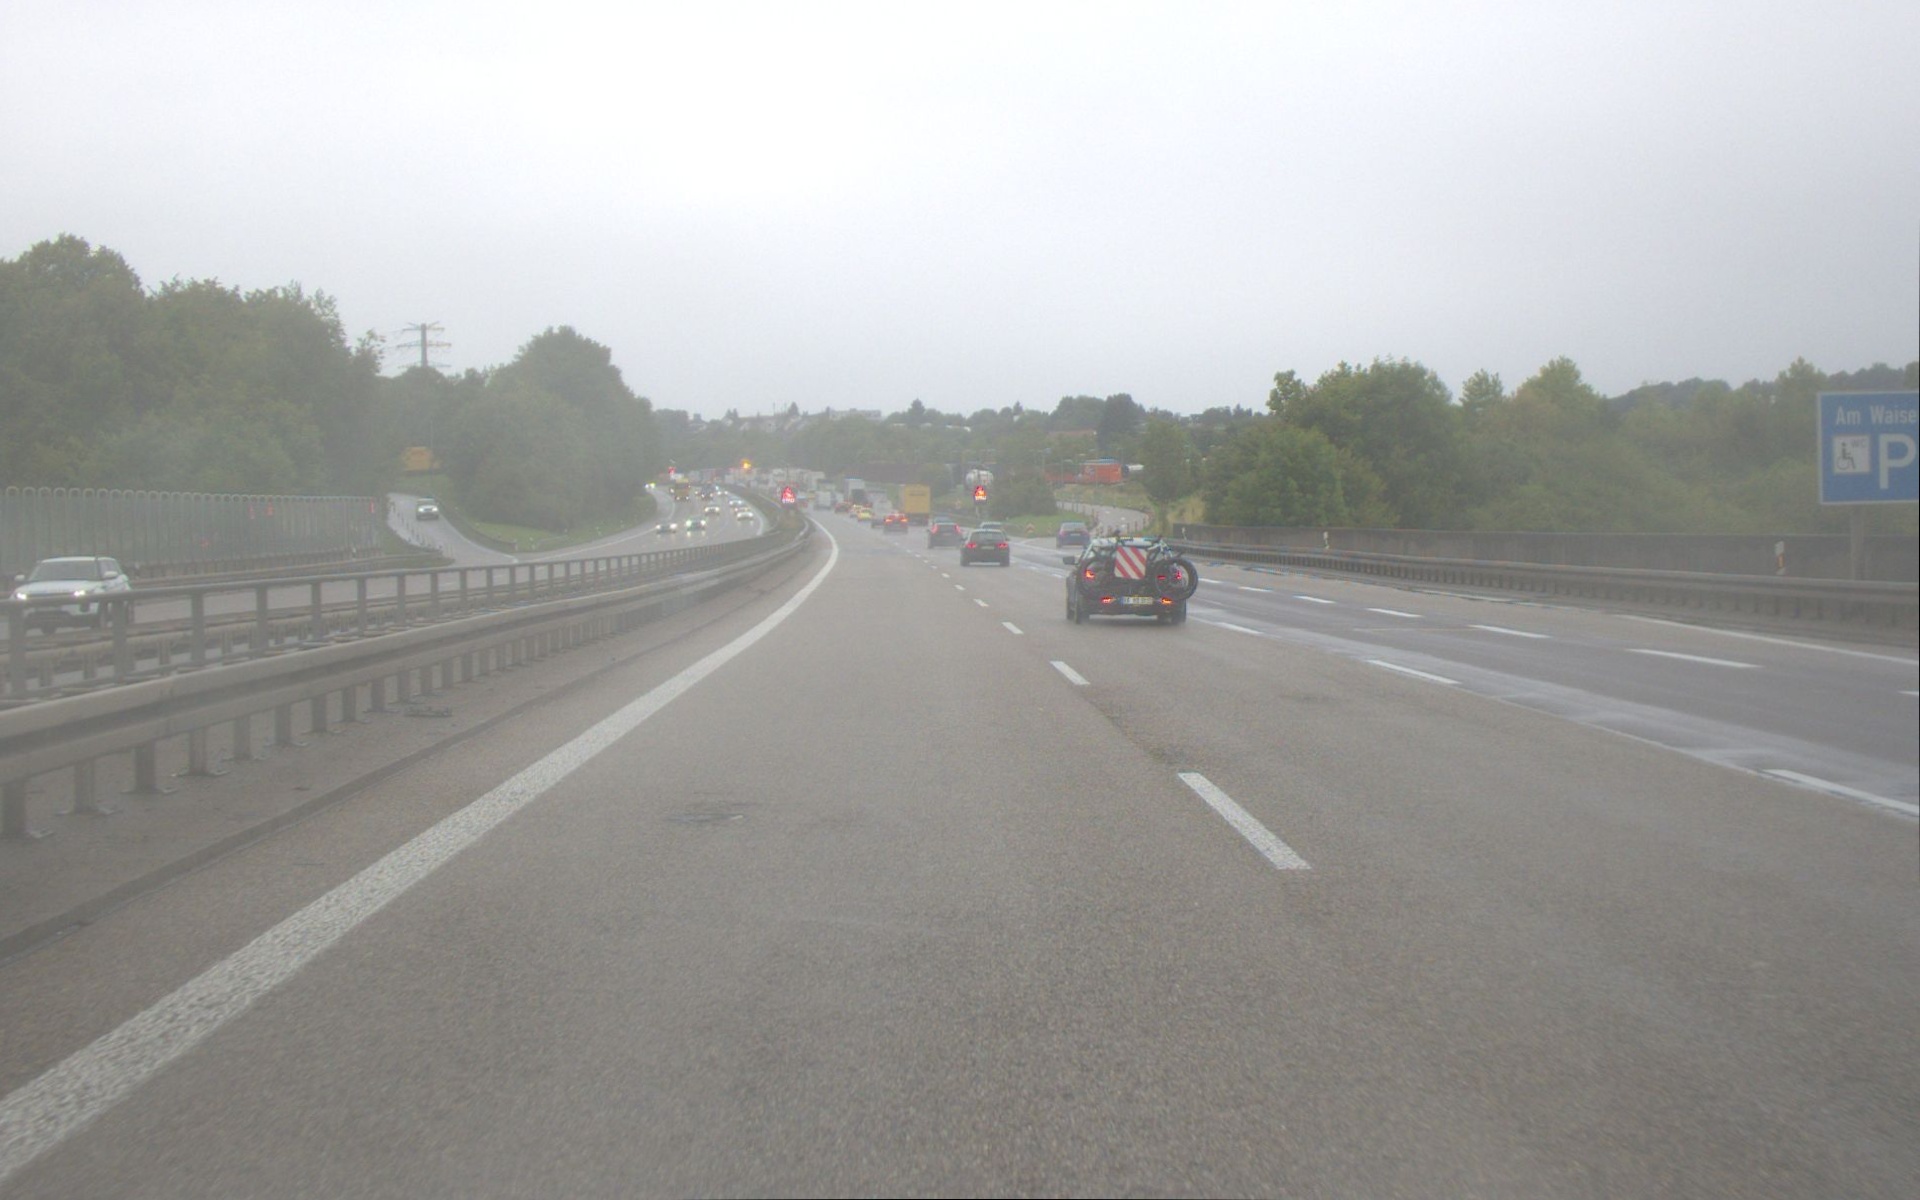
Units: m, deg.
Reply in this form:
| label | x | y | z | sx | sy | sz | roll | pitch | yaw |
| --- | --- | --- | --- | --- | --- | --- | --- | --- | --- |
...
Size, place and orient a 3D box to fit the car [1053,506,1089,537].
| label | x | y | z | sx | sy | sz | roll | pitch | yaw |
| --- | --- | --- | --- | --- | --- | --- | --- | --- | --- |
| car | 6.354 | -4.473 | 195.782 | 1.922 | 1.703 | 4.000 | -1 | 2 | 3 |

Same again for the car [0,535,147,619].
| label | x | y | z | sx | sy | sz | roll | pitch | yaw |
| --- | --- | --- | --- | --- | --- | --- | --- | --- | --- |
| car | -18.382 | -0.503 | 71.302 | 1.993 | 1.624 | 4.714 | -1 | 1 | -1 |

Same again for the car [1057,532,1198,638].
| label | x | y | z | sx | sy | sz | roll | pitch | yaw |
| --- | --- | --- | --- | --- | --- | --- | --- | --- | --- |
| car | 2.741 | -0.289 | 57.355 | 2.057 | 1.665 | 5.522 | 0 | 1 | 0 |

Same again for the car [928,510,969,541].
| label | x | y | z | sx | sy | sz | roll | pitch | yaw |
| --- | --- | --- | --- | --- | --- | --- | --- | --- | --- |
| car | -0.635 | -4.142 | 191.686 | 1.993 | 1.623 | 4.001 | -2 | 2 | -3 |

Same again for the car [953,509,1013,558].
| label | x | y | z | sx | sy | sz | roll | pitch | yaw |
| --- | --- | --- | --- | --- | --- | --- | --- | --- | --- |
| car | 0.855 | -2.585 | 132.558 | 1.993 | 1.755 | 4.001 | -2 | 2 | -3 |
